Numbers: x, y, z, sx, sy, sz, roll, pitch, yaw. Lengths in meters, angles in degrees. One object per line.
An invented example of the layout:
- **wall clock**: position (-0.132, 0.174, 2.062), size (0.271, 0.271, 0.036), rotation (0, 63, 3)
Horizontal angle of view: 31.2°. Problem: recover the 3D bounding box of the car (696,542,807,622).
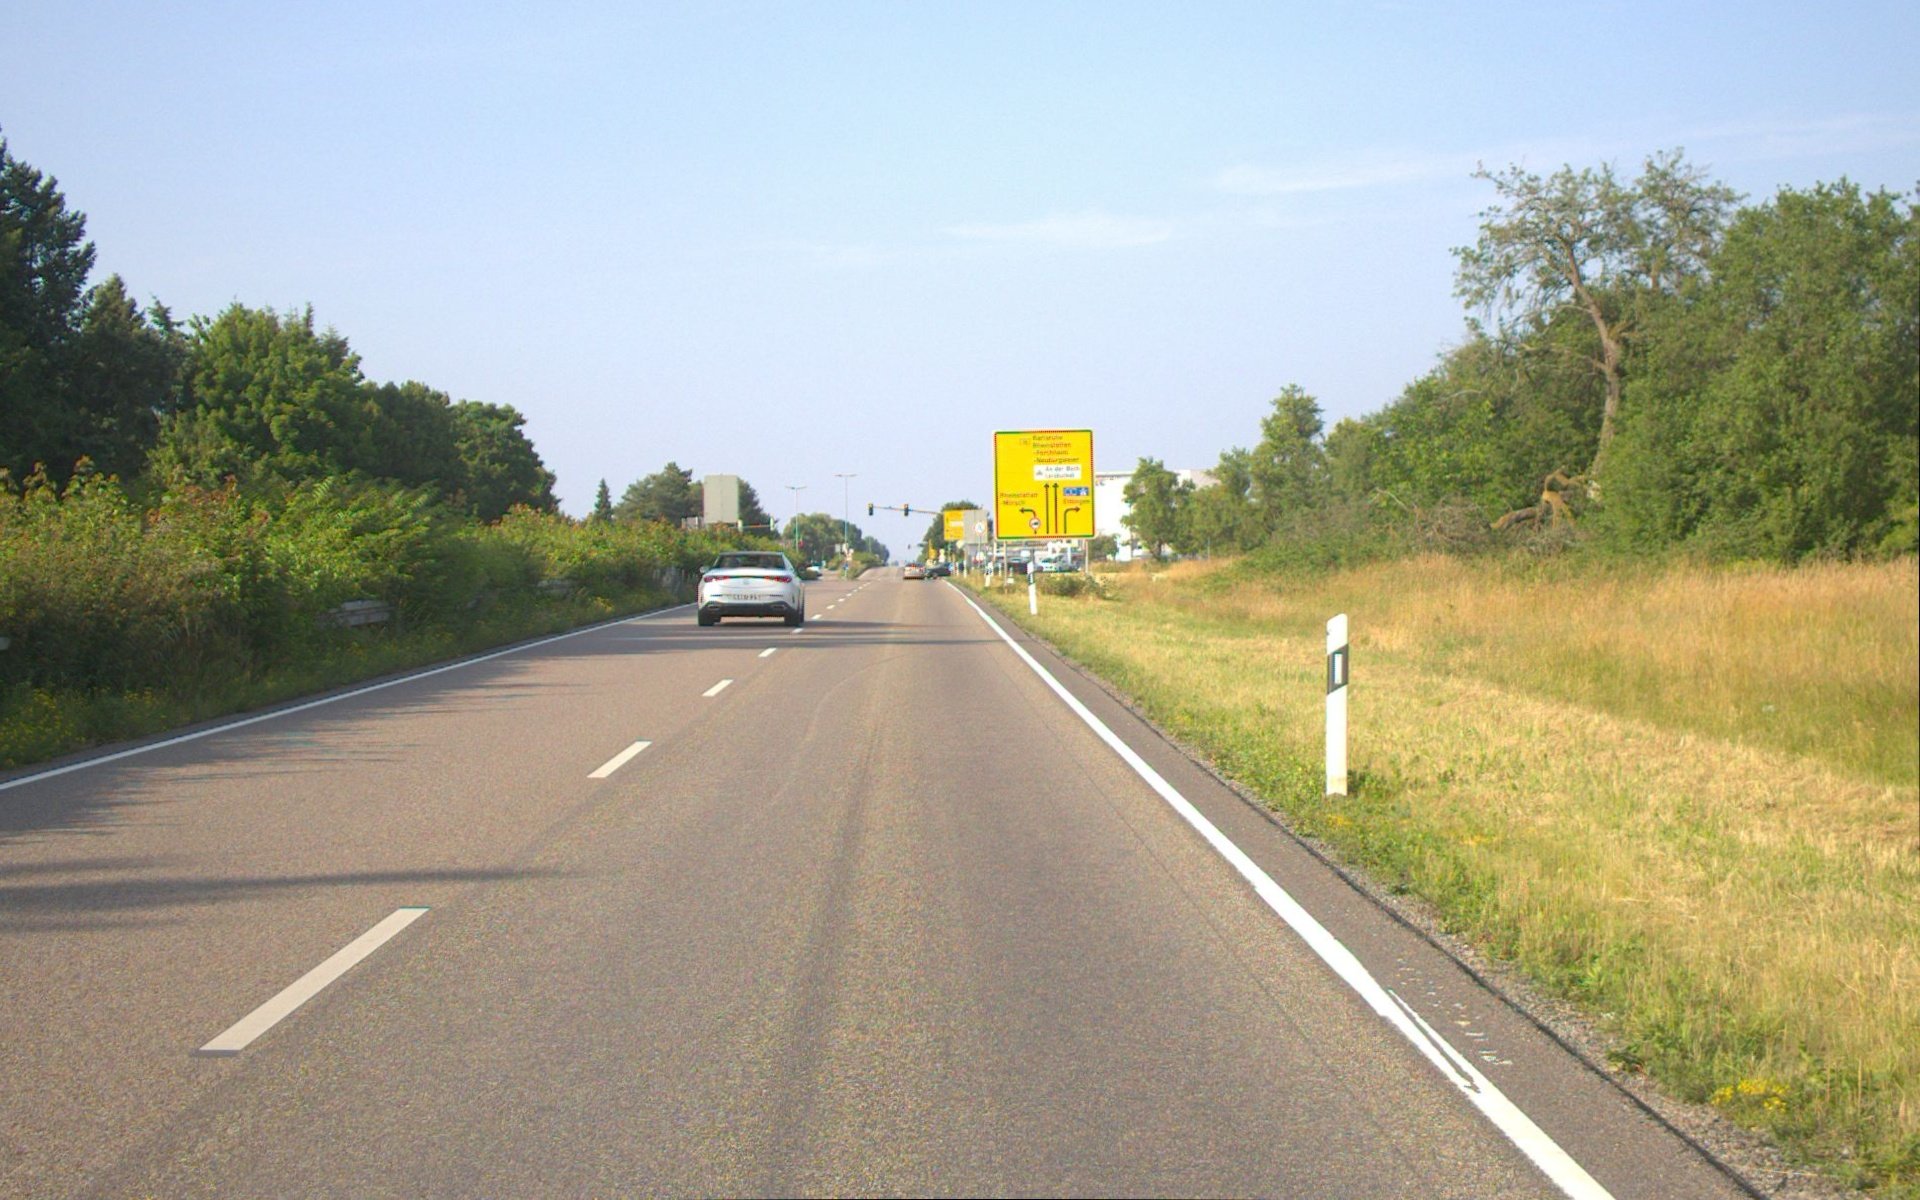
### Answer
- **car**: position (-3.840, -0.355, 63.893), size (1.909, 1.417, 4.000), rotation (0, 1, -1)
